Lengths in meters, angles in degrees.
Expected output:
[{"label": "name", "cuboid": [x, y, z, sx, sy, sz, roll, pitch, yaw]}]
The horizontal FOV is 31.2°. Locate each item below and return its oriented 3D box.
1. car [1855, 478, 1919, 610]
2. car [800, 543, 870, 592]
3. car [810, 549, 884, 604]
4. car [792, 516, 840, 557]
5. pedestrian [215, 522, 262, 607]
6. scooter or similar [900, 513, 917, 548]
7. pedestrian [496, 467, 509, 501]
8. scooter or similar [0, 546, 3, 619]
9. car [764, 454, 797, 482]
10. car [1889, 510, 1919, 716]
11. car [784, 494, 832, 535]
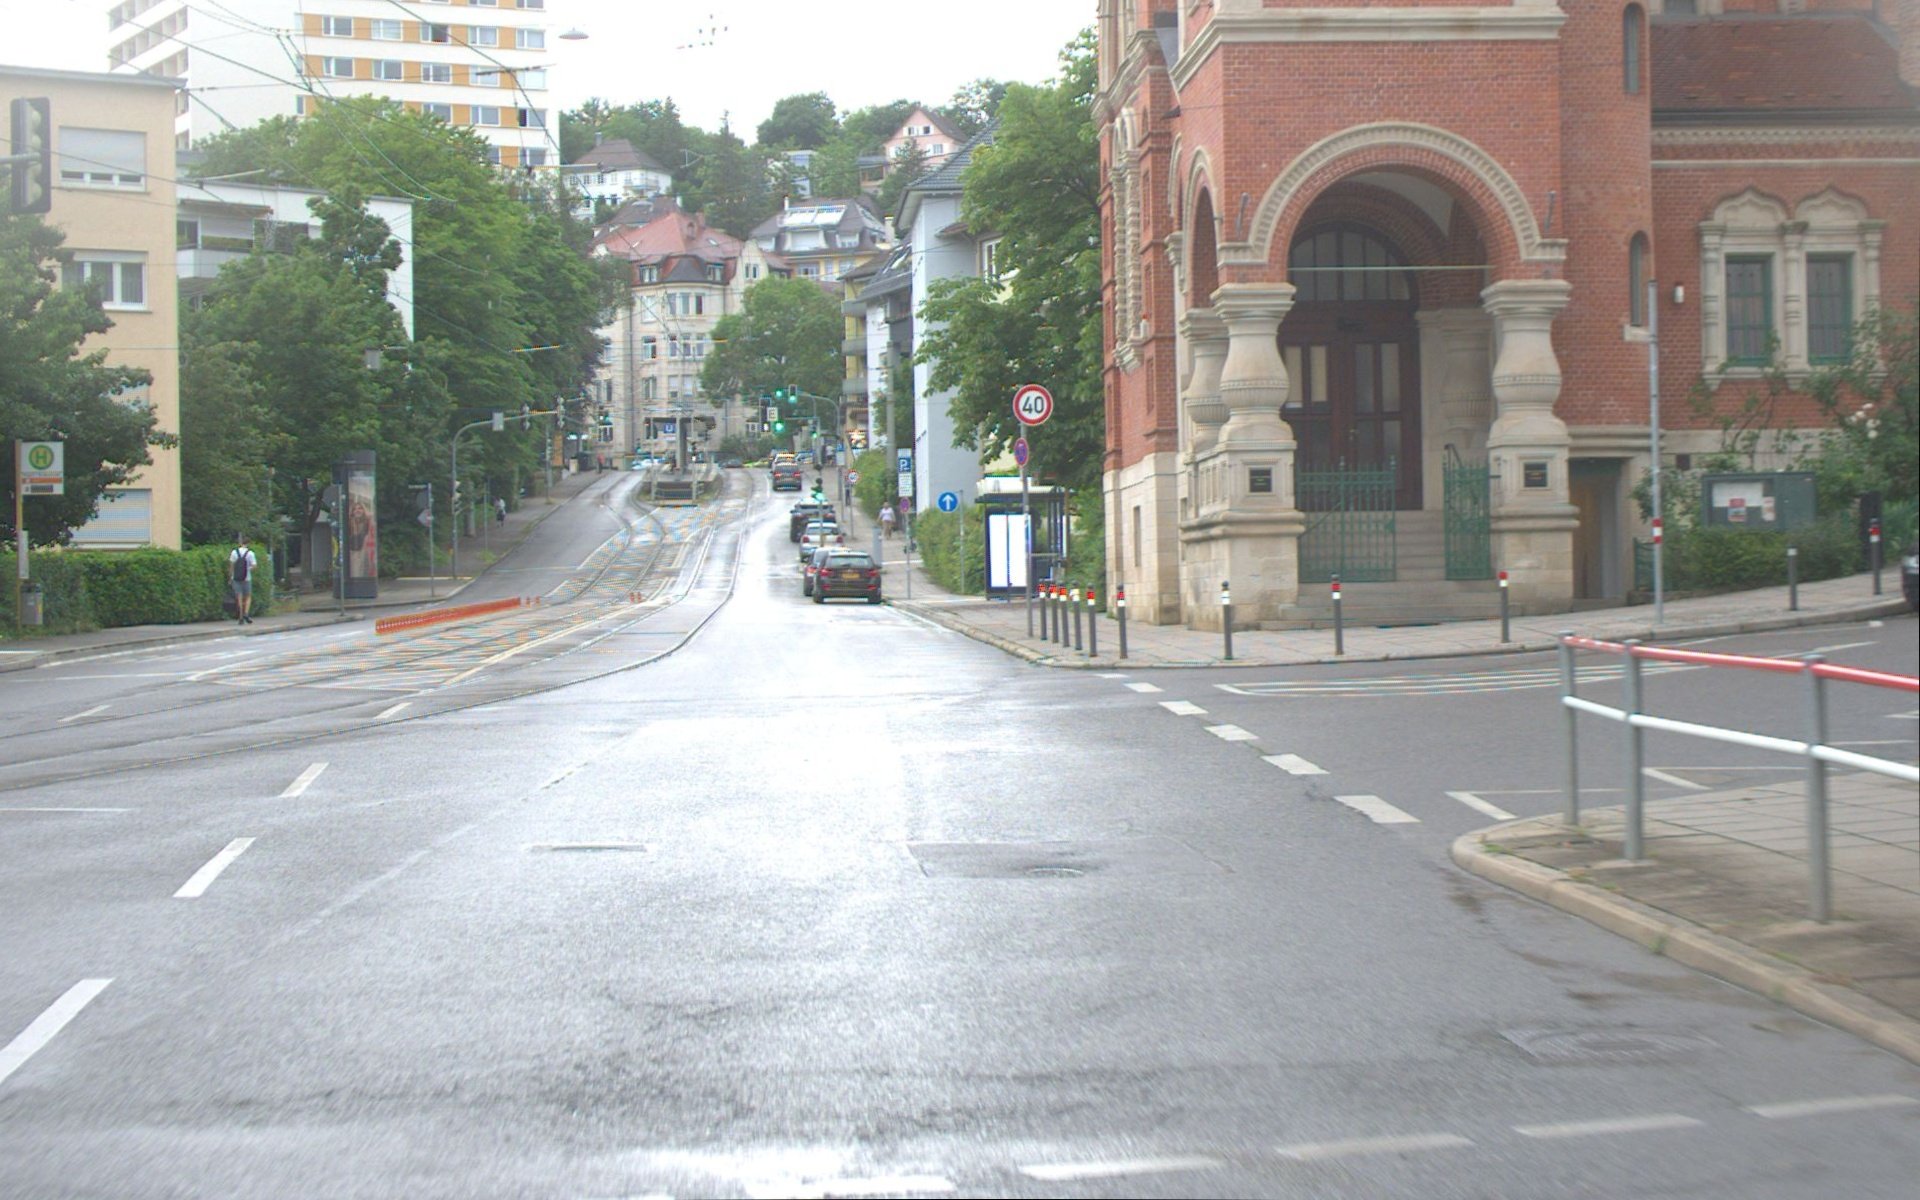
[{"label": "car", "cuboid": [12.127, -0.821, 38.768, 1.941, 1.363, 4.468, -4, 3, 43]}, {"label": "car", "cuboid": [-3.897, -1.013, 106.530, 1.939, 1.459, 4.207, 0, 1, -5]}, {"label": "car", "cuboid": [-3.155, -0.666, 95.242, 1.857, 1.482, 4.646, 0, 1, -4]}, {"label": "car", "cuboid": [-5.521, -2.451, 131.596, 1.704, 1.428, 4.103, 1, 3, -4]}, {"label": "pedestrian", "cuboid": [-15.911, -0.778, 75.817, 0.918, 1.839, 1.017, 1, 0, -7]}, {"label": "scooter or similar", "cuboid": [-1.987, -2.671, 132.444, 0.575, 1.245, 1.610, 0, 5, 2]}, {"label": "pedestrian", "cuboid": [-21.844, -5.532, 164.070, 0.583, 1.594, 0.869, 2, 2, -7]}, {"label": "scooter or similar", "cuboid": [-15.852, -0.293, 55.445, 0.572, 1.180, 1.600, 0, -1, -7]}, {"label": "car", "cuboid": [-11.078, -8.139, 212.148, 1.801, 1.640, 4.001, 0, 1, -6]}, {"label": "car", "cuboid": [8.898, -0.056, 25.683, 2.000, 1.452, 4.439, 1, 5, 41]}, {"label": "car", "cuboid": [-6.571, -3.695, 147.968, 1.906, 1.636, 4.691, 1, 3, -4]}]
